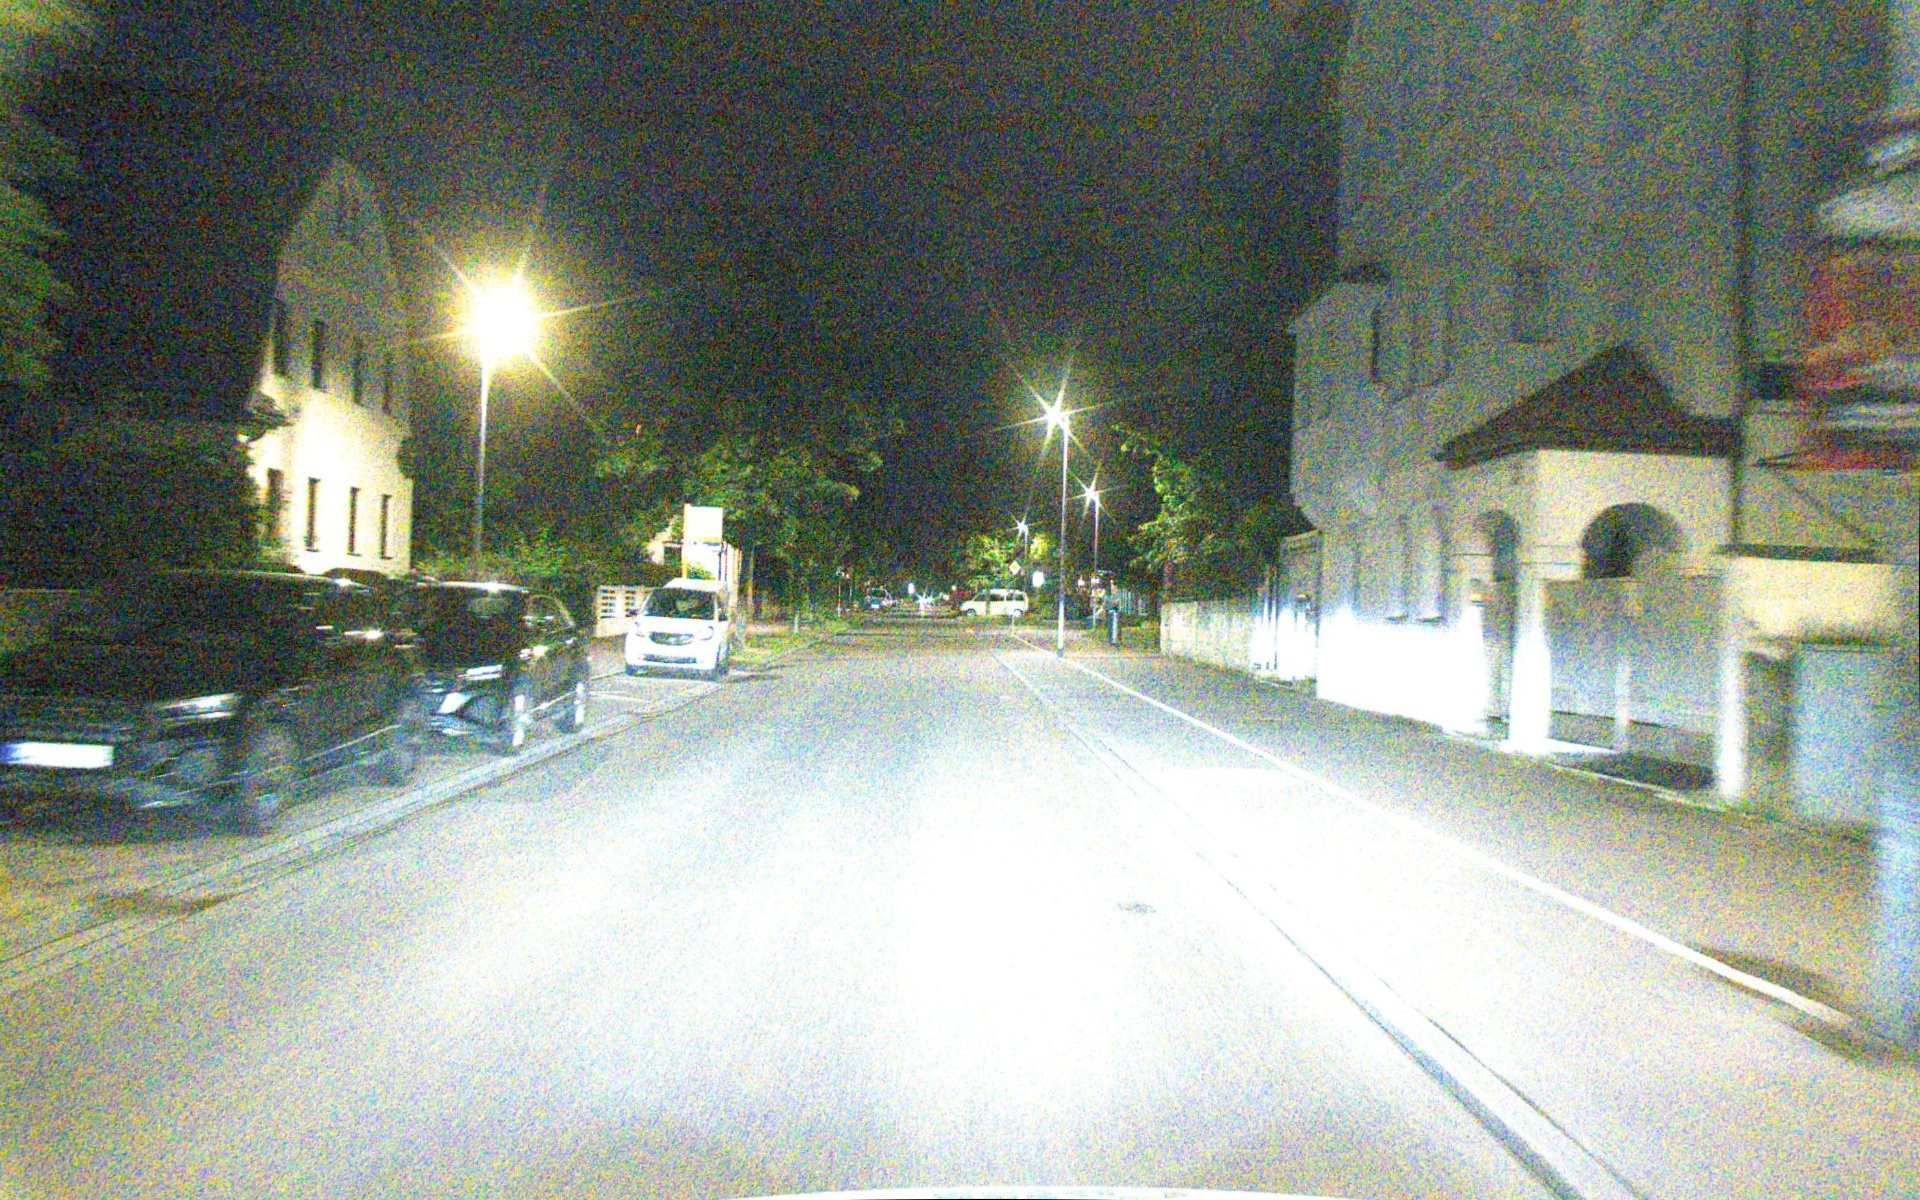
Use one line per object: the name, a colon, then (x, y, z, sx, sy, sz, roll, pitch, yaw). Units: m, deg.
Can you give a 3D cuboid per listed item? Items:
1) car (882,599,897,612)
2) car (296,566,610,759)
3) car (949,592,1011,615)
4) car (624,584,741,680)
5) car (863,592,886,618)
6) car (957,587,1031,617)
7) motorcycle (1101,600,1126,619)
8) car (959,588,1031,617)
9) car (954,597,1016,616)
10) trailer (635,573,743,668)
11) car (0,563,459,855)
car: (-8.079, 0.630, 189.132, 1.649, 1.354, 3.598, 2, 0, -2)
car: (-4.727, 0.530, 16.093, 1.731, 1.546, 4.277, 3, 0, -1)
car: (1.707, 0.302, 141.276, 5.072, 1.920, 2.103, 0, 0, 8)
car: (-4.990, 0.552, 30.108, 1.638, 1.548, 2.977, 4, 0, -2)
car: (-7.197, 0.401, 140.064, 1.788, 2.021, 4.463, 3, 0, -2)
car: (2.389, 0.153, 116.524, 5.078, 2.049, 2.101, 0, 0, -3)
motorcycle: (11.385, 0.666, 122.679, 1.048, 1.350, 2.706, 2, 1, 22)
car: (2.494, 0.153, 119.588, 5.078, 2.049, 2.101, 0, 0, -3)
car: (2.046, 0.544, 138.564, 5.078, 1.495, 2.101, 0, 0, -3)
trailer: (-5.398, 0.403, 33.329, 1.418, 1.717, 3.426, 4, 0, 1)
car: (-4.824, 0.578, 11.021, 1.653, 1.537, 4.278, 2, 0, 0)
